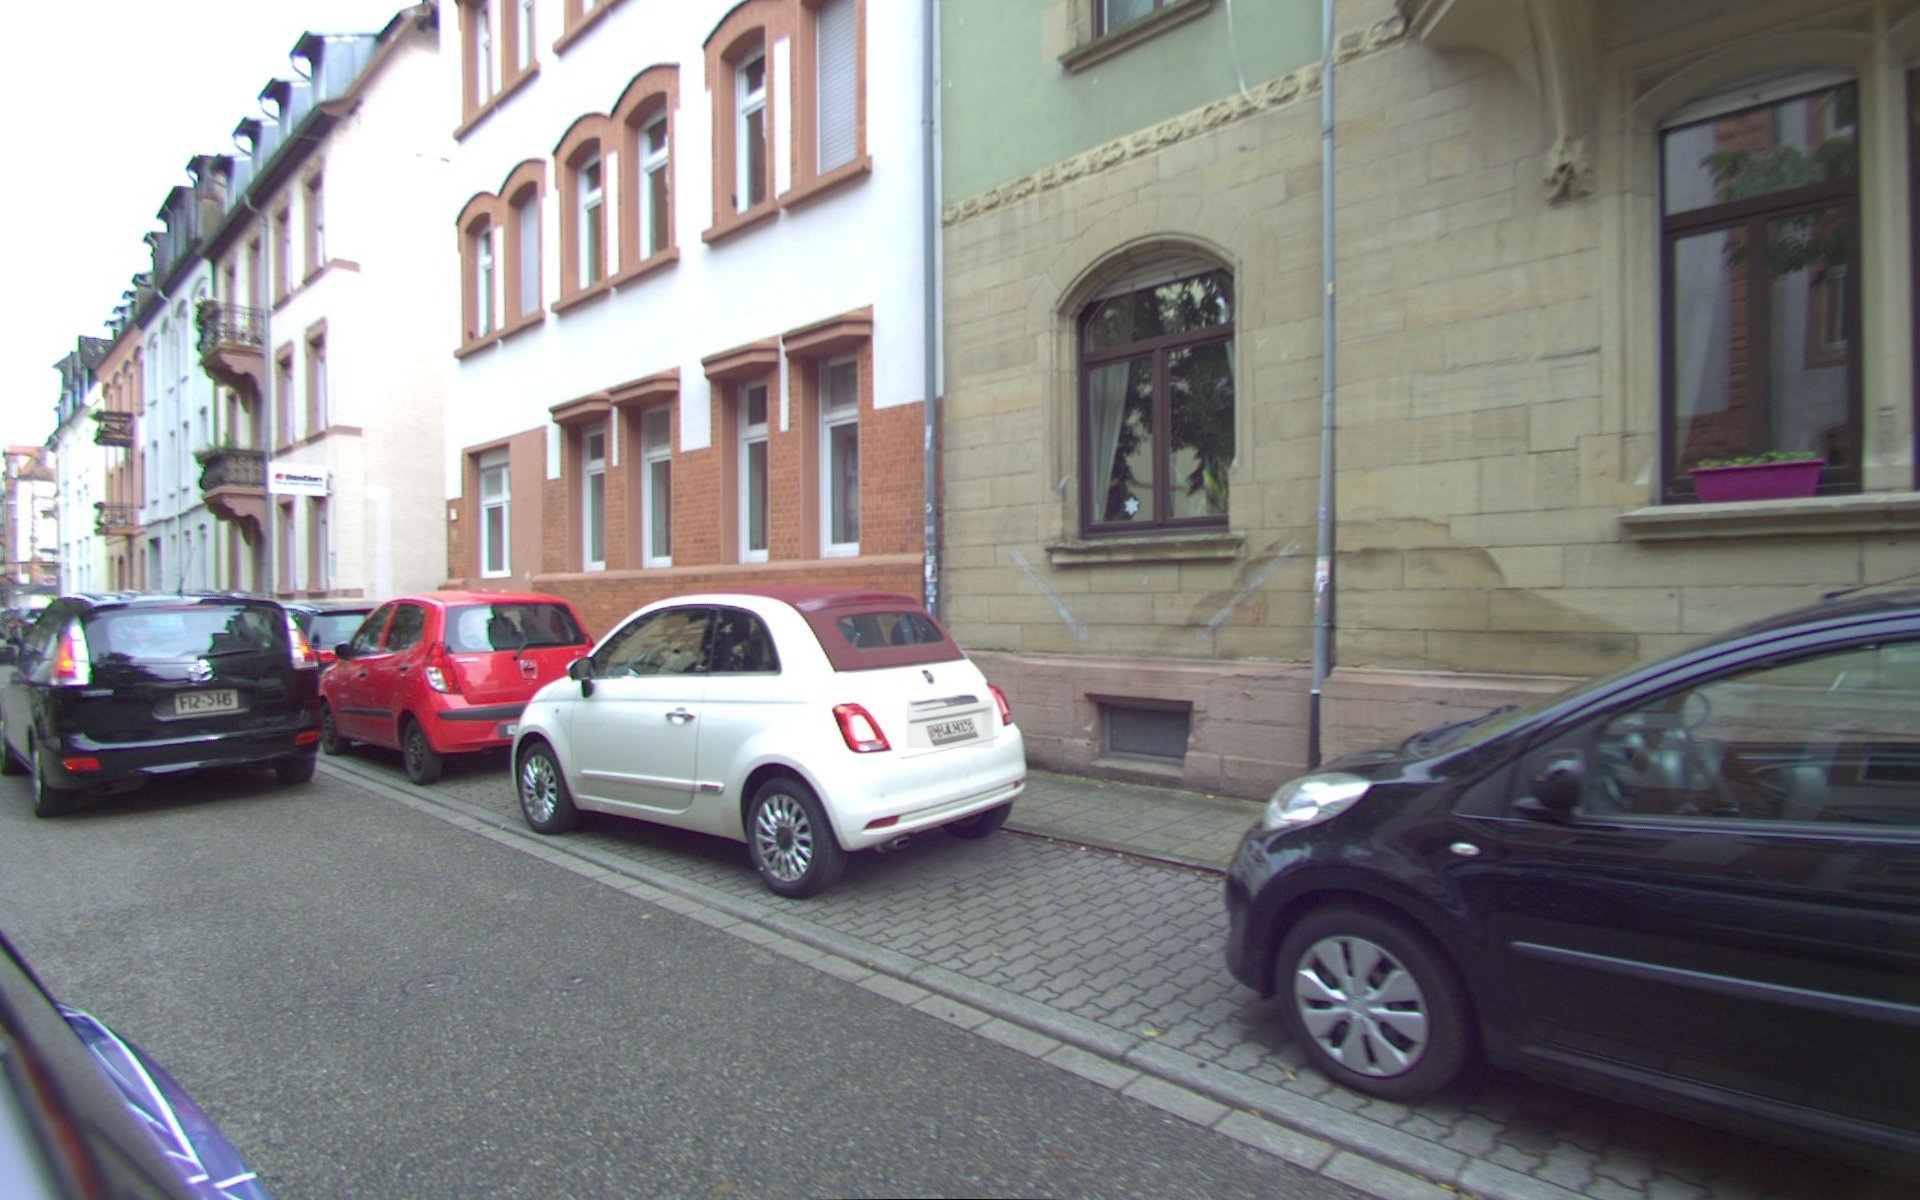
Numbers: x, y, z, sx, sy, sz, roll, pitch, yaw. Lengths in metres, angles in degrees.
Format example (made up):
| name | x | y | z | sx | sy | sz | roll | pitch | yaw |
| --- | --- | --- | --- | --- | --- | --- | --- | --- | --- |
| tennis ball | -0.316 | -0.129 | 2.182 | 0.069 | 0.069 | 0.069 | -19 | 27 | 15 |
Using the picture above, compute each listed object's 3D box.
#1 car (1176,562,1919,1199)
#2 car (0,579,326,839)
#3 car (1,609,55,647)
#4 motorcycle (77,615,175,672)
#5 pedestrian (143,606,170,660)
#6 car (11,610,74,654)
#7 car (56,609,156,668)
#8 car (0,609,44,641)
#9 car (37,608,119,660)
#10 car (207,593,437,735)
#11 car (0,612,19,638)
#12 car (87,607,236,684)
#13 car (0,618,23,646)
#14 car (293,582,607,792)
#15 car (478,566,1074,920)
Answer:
| name | x | y | z | sx | sy | sz | roll | pitch | yaw |
| --- | --- | --- | --- | --- | --- | --- | --- | --- | --- |
| car | 2.464 | 0.626 | 2.573 | 3.457 | 1.445 | 1.500 | -1 | 1 | 44 |
| car | -6.924 | 0.692 | 8.535 | 1.789 | 1.642 | 4.210 | 0 | 0 | -45 |
| car | -37.707 | 1.130 | 40.909 | 1.437 | 1.420 | 3.813 | -2 | 0 | -45 |
| motorcycle | -19.309 | 0.992 | 23.463 | 1.684 | 1.235 | 0.488 | -1 | 0 | -28 |
| pedestrian | -24.643 | 0.993 | 31.033 | 0.544 | 1.621 | 0.570 | -1 | 0 | 44 |
| car | -33.101 | 1.132 | 36.507 | 3.042 | 1.420 | 1.437 | 1 | 2 | 44 |
| car | -22.444 | 0.964 | 26.572 | 3.473 | 1.393 | 1.637 | -1 | 1 | 44 |
| car | -44.959 | 1.202 | 48.449 | 1.437 | 1.420 | 3.813 | -2 | 0 | -45 |
| car | -26.887 | 0.984 | 30.820 | 3.343 | 1.483 | 1.588 | -1 | -1 | 43 |
| car | -7.841 | 0.685 | 12.286 | 3.919 | 1.427 | 1.449 | -1 | 1 | 44 |
| car | -55.485 | 1.471 | 58.479 | 1.437 | 1.420 | 3.813 | -2 | 0 | -45 |
| car | -16.477 | 0.874 | 20.807 | 4.001 | 1.401 | 1.879 | -1 | 0 | 44 |
| car | -52.016 | 1.743 | 55.015 | 1.437 | 1.420 | 3.813 | -2 | 0 | -45 |
| car | -4.798 | 0.671 | 9.299 | 3.569 | 1.541 | 1.449 | -1 | 1 | 44 |
| car | -1.262 | 0.630 | 6.133 | 3.550 | 1.522 | 1.649 | -1 | 0 | 40 |
